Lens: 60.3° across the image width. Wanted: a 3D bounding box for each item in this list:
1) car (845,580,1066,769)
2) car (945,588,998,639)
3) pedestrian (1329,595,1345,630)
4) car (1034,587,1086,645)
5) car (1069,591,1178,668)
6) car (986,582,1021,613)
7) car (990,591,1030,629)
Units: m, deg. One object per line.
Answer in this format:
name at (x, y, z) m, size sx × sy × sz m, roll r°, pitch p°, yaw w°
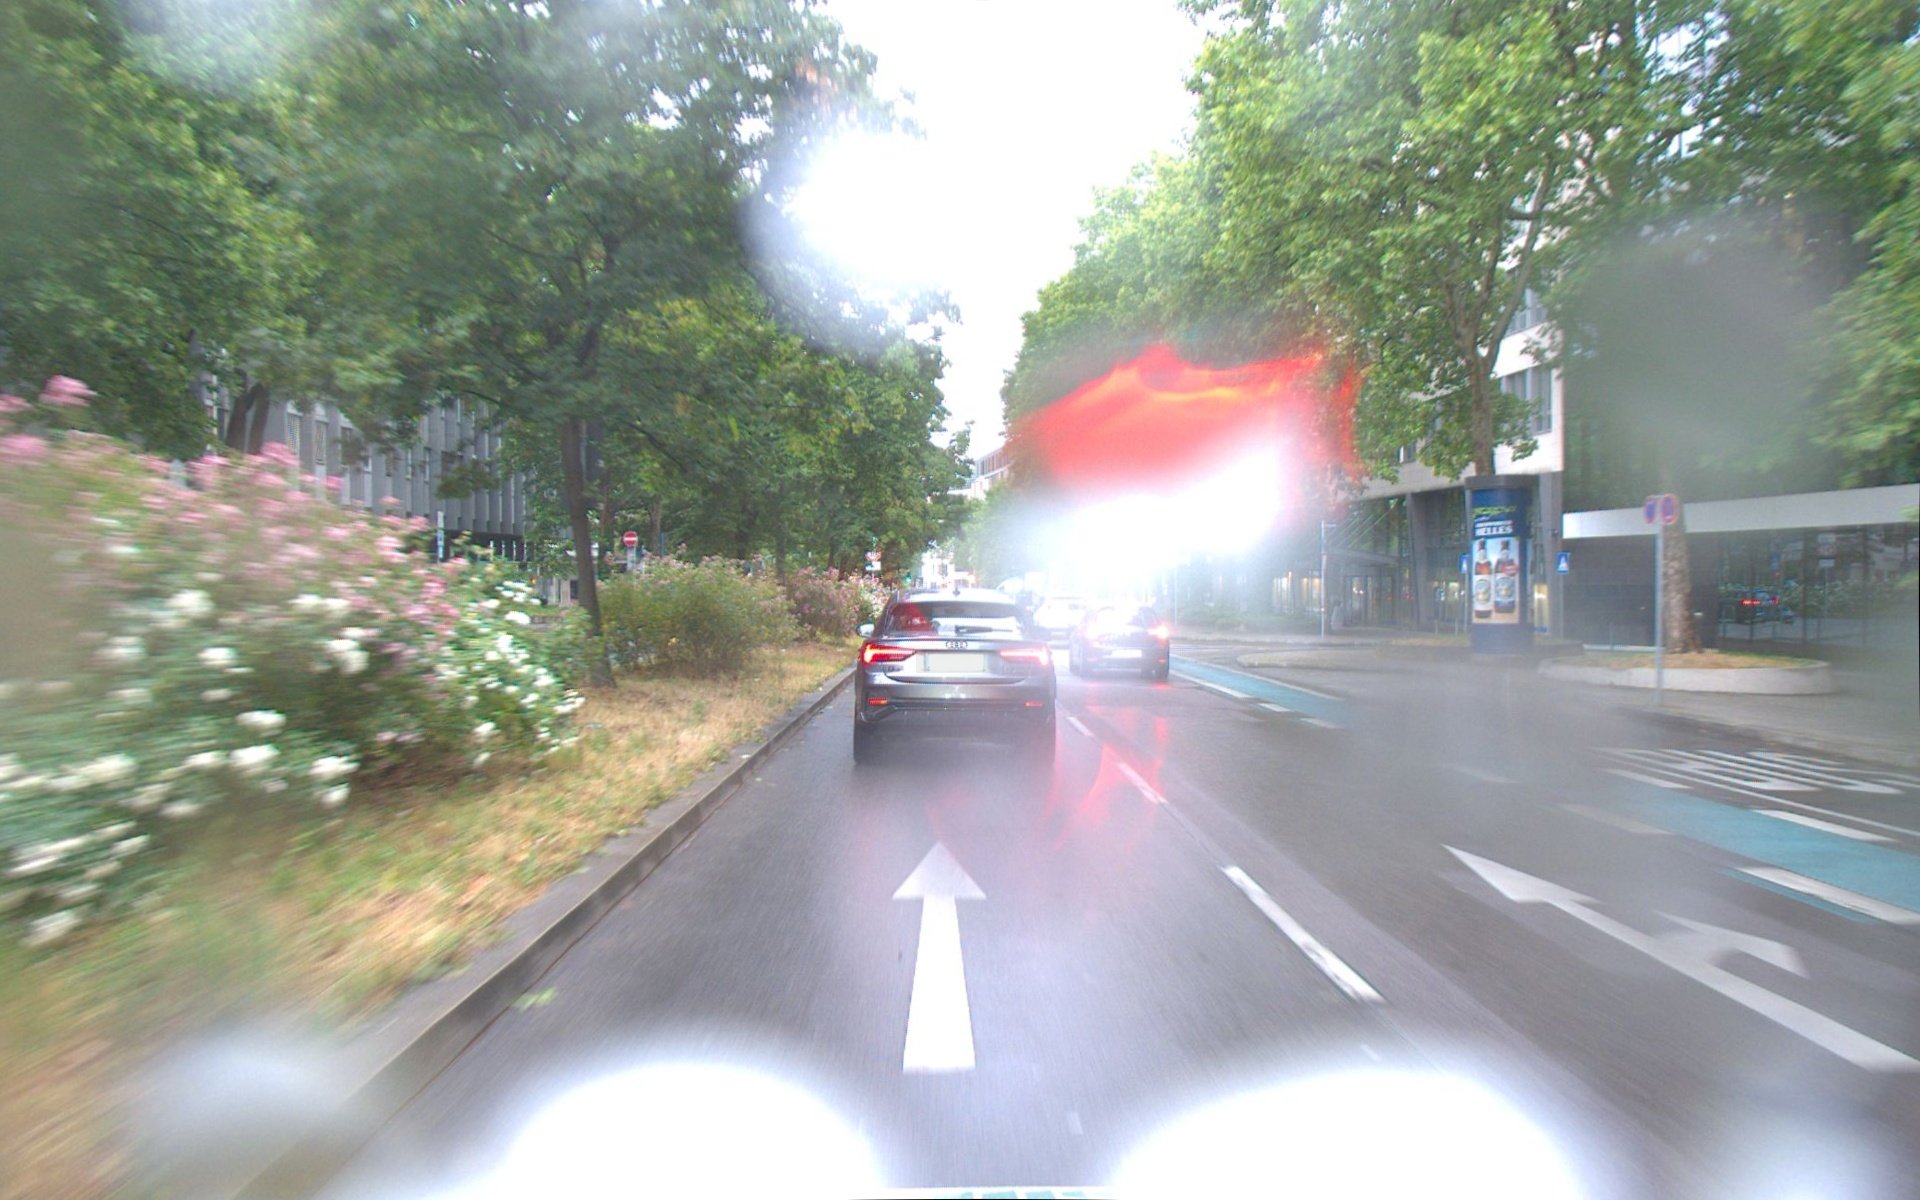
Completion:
car at (-0.006, 0.609, 16.102) m, size 1.825 × 1.559 × 4.527 m, roll 1°, pitch 0°, yaw 1°
car at (0.351, 0.415, 55.098) m, size 1.686 × 1.605 × 3.961 m, roll 1°, pitch 0°, yaw -1°
pedestrian at (20.022, 0.654, 87.877) m, size 0.637 × 1.847 × 0.655 m, roll 1°, pitch 0°, yaw -1°
car at (3.061, 0.470, 51.088) m, size 1.404 × 1.714 × 2.979 m, roll 0°, pitch 0°, yaw 0°
car at (3.213, 0.547, 33.136) m, size 1.729 × 1.437 × 3.999 m, roll 0°, pitch 0°, yaw -1°
car at (2.554, -0.150, 97.427) m, size 1.953 × 1.780 × 4.000 m, roll 0°, pitch 0°, yaw 0°
car at (2.404, 0.464, 80.693) m, size 1.785 × 1.780 × 4.000 m, roll 0°, pitch 0°, yaw 0°
